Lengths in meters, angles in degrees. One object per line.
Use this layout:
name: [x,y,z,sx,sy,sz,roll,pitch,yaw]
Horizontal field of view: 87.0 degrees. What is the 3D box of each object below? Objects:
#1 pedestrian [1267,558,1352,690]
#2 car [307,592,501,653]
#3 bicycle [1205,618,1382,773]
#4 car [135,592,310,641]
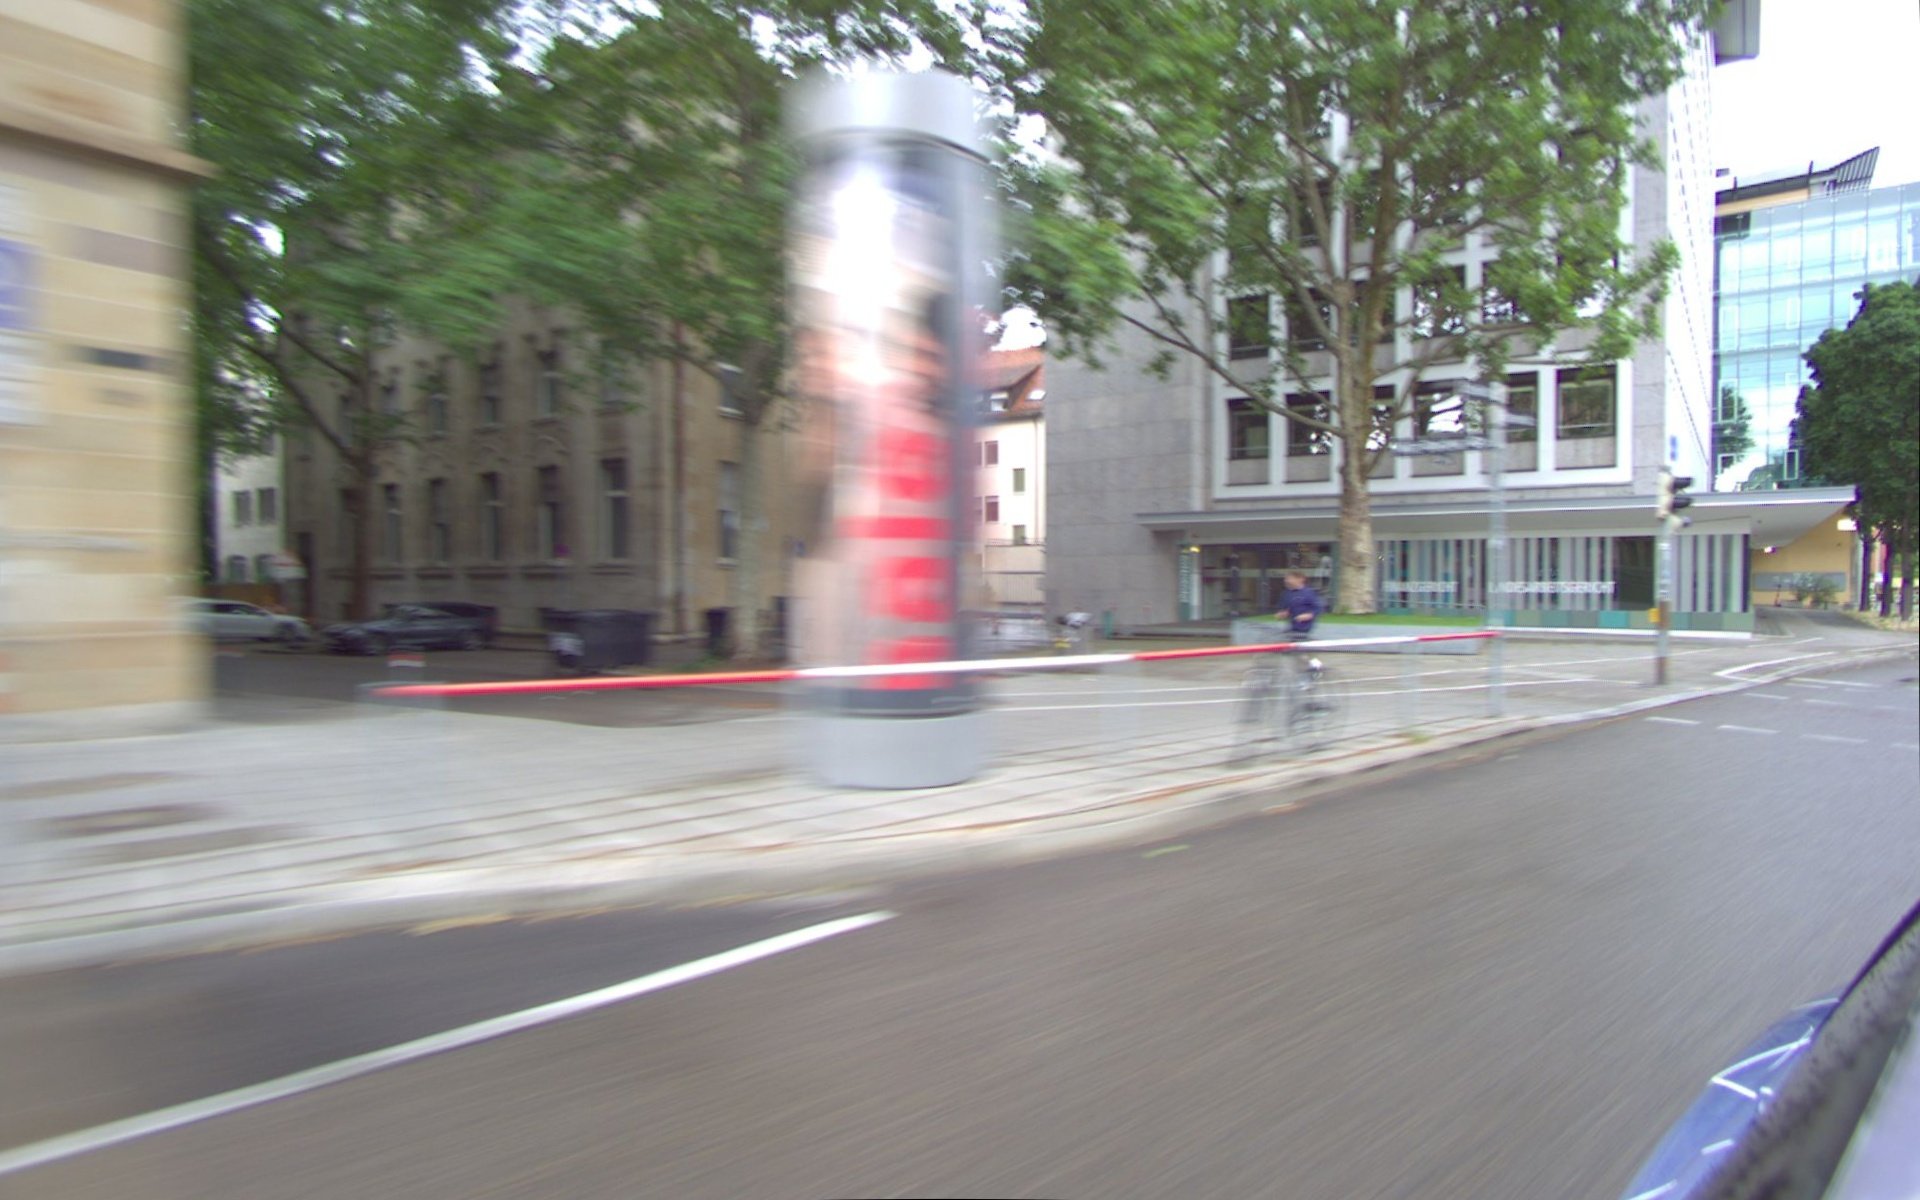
pedestrian: [4.917,0.319,14.256,0.847,1.794,0.781,0,0,-38]
car: [-15.708,0.582,28.811,1.876,1.481,4.489,4,2,33]
bicycle: [2.626,0.675,7.831,1.896,1.025,0.489,0,0,-44]
car: [-25.778,0.526,35.554,1.874,1.481,4.629,4,2,30]
